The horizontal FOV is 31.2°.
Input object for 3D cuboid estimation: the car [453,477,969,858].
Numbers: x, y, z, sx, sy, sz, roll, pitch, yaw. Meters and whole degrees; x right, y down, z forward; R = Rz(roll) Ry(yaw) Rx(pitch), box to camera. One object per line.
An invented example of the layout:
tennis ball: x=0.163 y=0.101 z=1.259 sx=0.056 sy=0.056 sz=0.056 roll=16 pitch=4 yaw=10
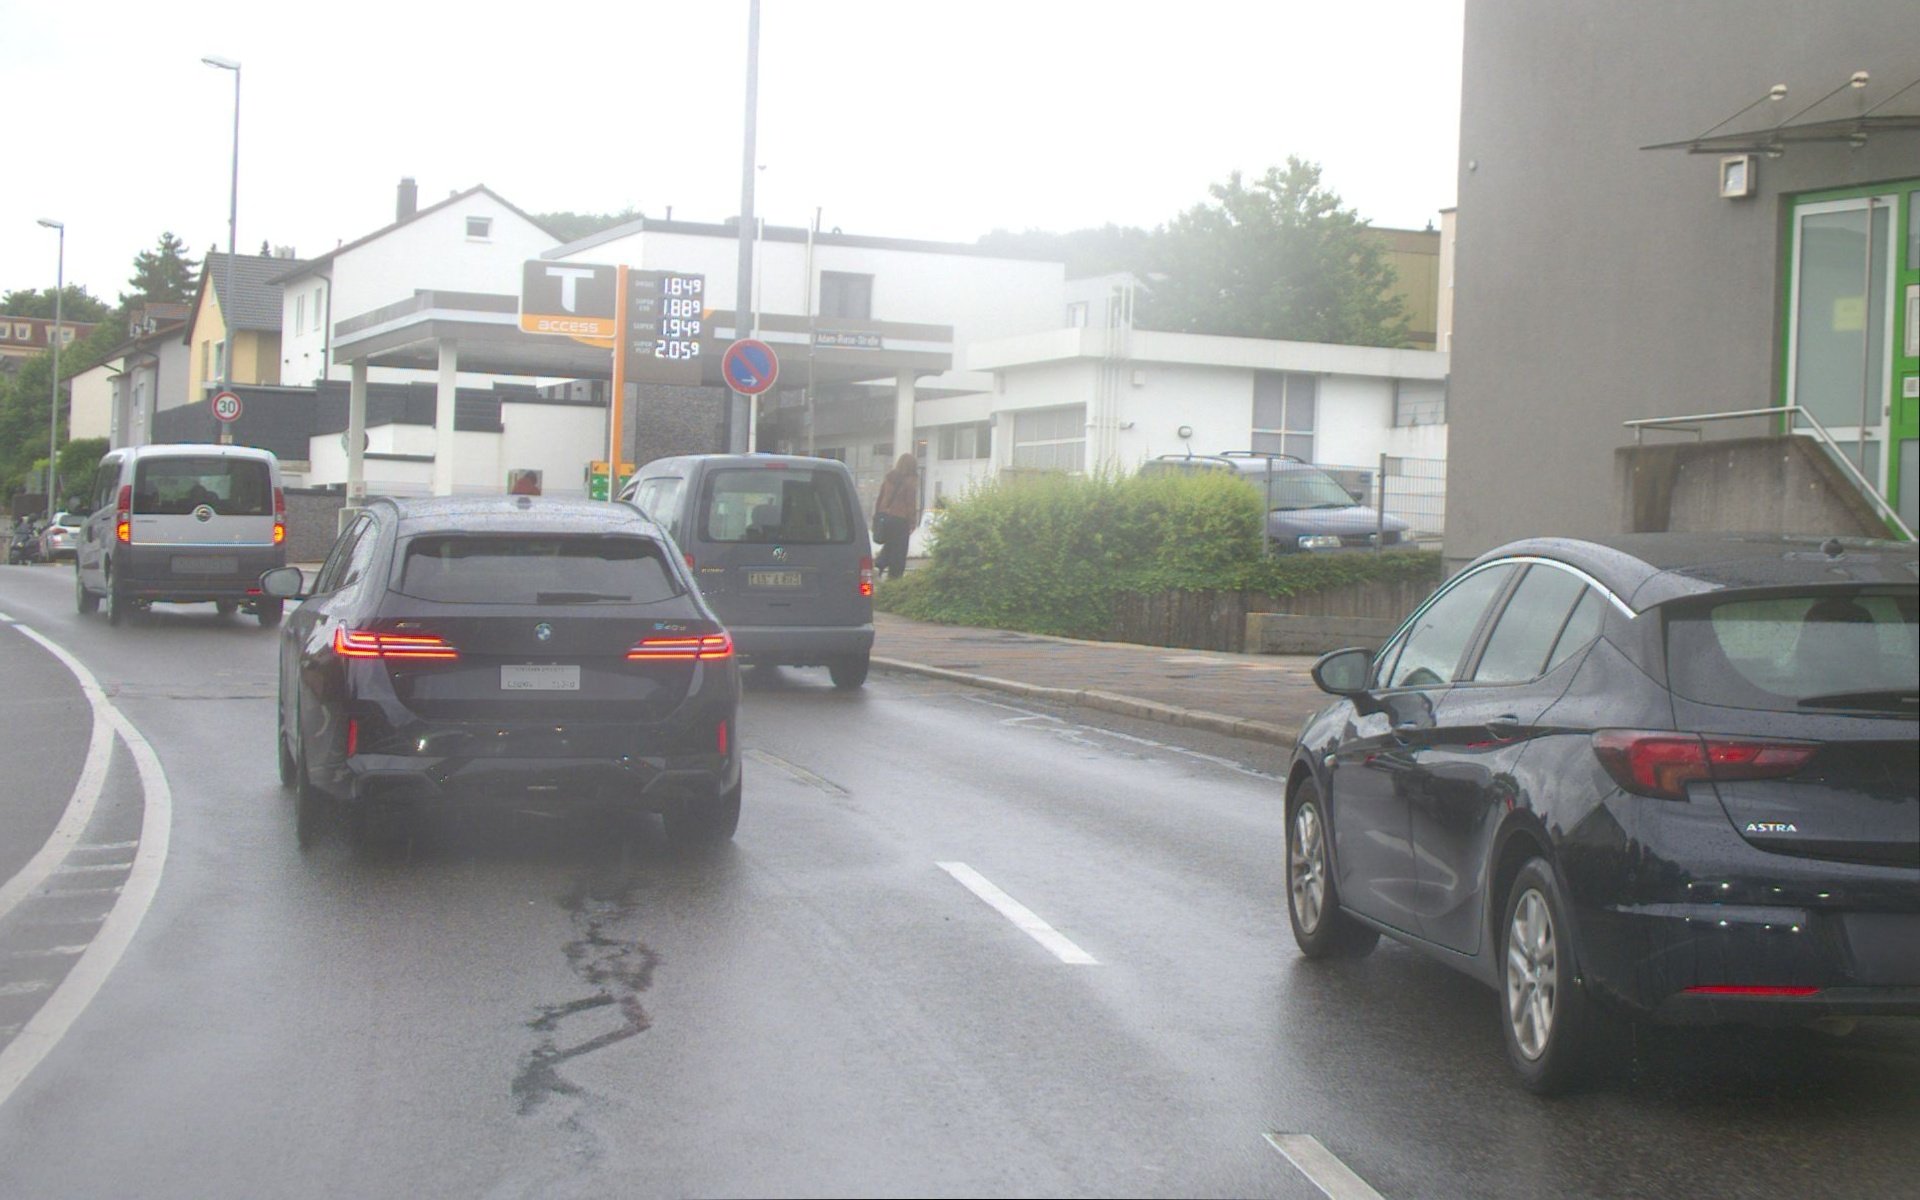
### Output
car: x=-1.282 y=0.280 z=15.810 sx=1.993 sy=1.479 sz=4.001 roll=2 pitch=0 yaw=-9

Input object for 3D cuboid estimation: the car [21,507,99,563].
car: x=-26.033 y=-1.851 z=99.392 sx=1.700 sy=1.505 sz=4.536 roll=2 pitch=0 yaw=-20

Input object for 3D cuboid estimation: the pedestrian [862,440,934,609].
pedestrian: x=-0.749 y=-0.901 z=41.583 sx=0.715 sy=2.007 sz=0.615 roll=2 pitch=0 yaw=-11

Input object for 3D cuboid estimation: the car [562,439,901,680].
car: x=-1.937 y=-0.310 z=27.945 sx=1.838 sy=1.761 sz=4.001 roll=2 pitch=0 yaw=-17

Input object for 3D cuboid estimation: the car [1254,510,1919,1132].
car: x=2.153 y=0.498 z=10.117 sx=1.756 sy=1.444 sz=4.001 roll=2 pitch=1 yaw=-7

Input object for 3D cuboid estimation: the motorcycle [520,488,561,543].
motorcycle: x=-8.351 y=-1.669 z=68.420 sx=0.462 sy=1.052 sz=1.391 roll=2 pitch=0 yaw=-20

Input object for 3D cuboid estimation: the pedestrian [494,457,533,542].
pedestrian: x=-8.894 y=-1.998 z=68.497 sx=0.609 sy=1.650 sz=0.586 roll=2 pitch=0 yaw=-20

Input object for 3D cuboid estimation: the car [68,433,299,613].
car: x=-8.254 y=-0.773 z=36.314 sx=1.993 sy=1.732 sz=4.001 roll=2 pitch=0 yaw=-18
